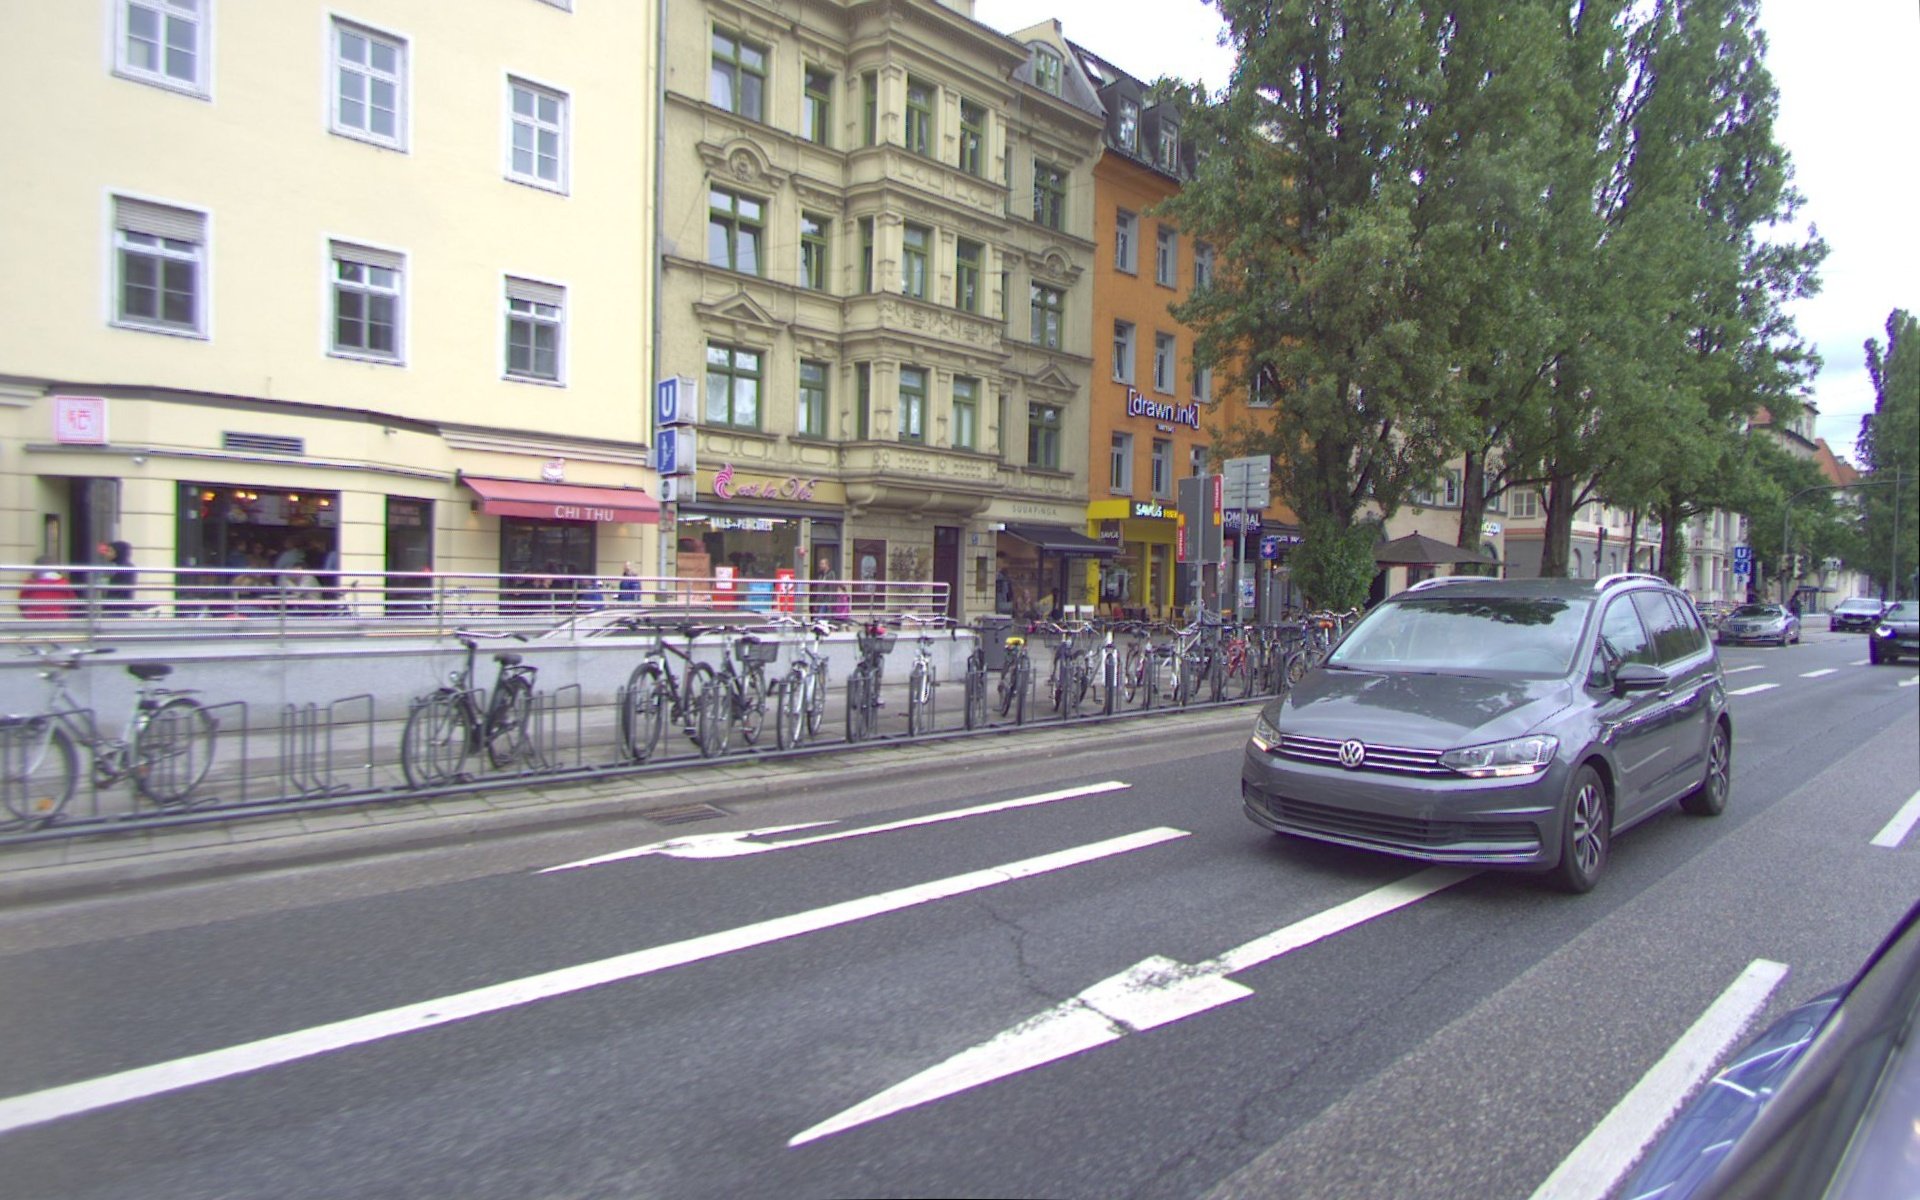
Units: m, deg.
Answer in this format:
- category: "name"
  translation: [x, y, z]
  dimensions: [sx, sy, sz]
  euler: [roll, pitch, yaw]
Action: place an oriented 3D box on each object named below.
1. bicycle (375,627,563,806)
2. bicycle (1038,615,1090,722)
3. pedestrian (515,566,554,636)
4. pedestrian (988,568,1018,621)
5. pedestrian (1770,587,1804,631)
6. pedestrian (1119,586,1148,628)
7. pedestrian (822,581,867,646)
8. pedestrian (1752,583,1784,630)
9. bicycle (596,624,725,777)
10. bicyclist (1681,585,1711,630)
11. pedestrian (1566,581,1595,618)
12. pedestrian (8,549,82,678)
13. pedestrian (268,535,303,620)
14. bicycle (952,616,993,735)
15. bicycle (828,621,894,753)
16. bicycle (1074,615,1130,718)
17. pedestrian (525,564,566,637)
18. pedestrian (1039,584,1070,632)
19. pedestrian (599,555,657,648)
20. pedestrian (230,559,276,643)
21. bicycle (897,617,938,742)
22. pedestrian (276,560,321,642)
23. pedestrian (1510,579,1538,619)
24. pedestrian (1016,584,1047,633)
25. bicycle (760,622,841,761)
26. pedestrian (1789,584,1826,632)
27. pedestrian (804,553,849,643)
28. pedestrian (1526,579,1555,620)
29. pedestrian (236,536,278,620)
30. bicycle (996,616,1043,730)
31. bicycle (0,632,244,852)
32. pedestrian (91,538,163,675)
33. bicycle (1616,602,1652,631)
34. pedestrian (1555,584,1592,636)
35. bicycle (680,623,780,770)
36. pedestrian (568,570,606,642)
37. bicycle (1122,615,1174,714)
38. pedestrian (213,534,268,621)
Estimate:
- category: "bicycle"
  translation: [-3.459, 0.758, 7.302]
  dimensions: [0.342, 1.008, 1.841]
  euler: [2, 2, 4]
- category: "bicycle"
  translation: [1.150, 0.728, 11.423]
  dimensions: [0.341, 1.008, 1.843]
  euler: [1, 2, -1]
- category: "pedestrian"
  translation: [-8.023, 0.011, 19.094]
  dimensions: [0.542, 1.305, 0.496]
  euler: [0, 1, -40]
- category: "pedestrian"
  translation: [1.221, -0.169, 28.778]
  dimensions: [0.572, 1.493, 0.627]
  euler: [0, 1, -38]
- category: "pedestrian"
  translation: [32.130, 0.350, 39.315]
  dimensions: [0.743, 1.658, 0.700]
  euler: [1, 0, 6]
- category: "pedestrian"
  translation: [5.197, 0.208, 30.377]
  dimensions: [0.573, 1.233, 0.623]
  euler: [0, 1, -41]
- category: "pedestrian"
  translation: [-2.273, 0.256, 19.935]
  dimensions: [0.654, 1.237, 0.601]
  euler: [0, 1, -40]
- category: "pedestrian"
  translation: [31.406, 0.252, 39.340]
  dimensions: [0.638, 1.803, 0.702]
  euler: [1, 0, -7]
- category: "bicycle"
  translation: [-2.417, 0.759, 8.364]
  dimensions: [0.342, 1.008, 1.840]
  euler: [2, 2, 5]
- category: "bicyclist"
  translation: [27.637, 0.268, 37.980]
  dimensions: [0.923, 1.623, 0.681]
  euler: [0, 1, -41]
- category: "pedestrian"
  translation: [27.363, -0.034, 44.607]
  dimensions: [0.808, 1.622, 0.848]
  euler: [0, 1, -41]
- category: "pedestrian"
  translation: [-10.609, 0.145, 11.755]
  dimensions: [0.606, 1.440, 0.677]
  euler: [0, 1, -40]
- category: "pedestrian"
  translation: [-11.464, -0.381, 17.206]
  dimensions: [0.479, 1.414, 0.511]
  euler: [0, 1, -35]
- category: "bicycle"
  translation: [0.107, 0.727, 10.403]
  dimensions: [0.341, 1.008, 1.843]
  euler: [1, 2, -1]
- category: "bicycle"
  translation: [-0.907, 0.760, 9.544]
  dimensions: [0.341, 1.008, 1.841]
  euler: [2, 2, 2]
- category: "bicycle"
  translation: [1.634, 0.729, 11.848]
  dimensions: [0.341, 1.008, 1.843]
  euler: [1, 2, -1]
- category: "pedestrian"
  translation: [-7.532, 0.007, 18.394]
  dimensions: [0.542, 1.305, 0.496]
  euler: [0, 1, -40]
- category: "pedestrian"
  translation: [2.591, 0.220, 27.758]
  dimensions: [0.573, 1.296, 0.584]
  euler: [0, 1, -41]
- category: "pedestrian"
  translation: [-6.010, 0.015, 18.328]
  dimensions: [0.772, 1.653, 0.712]
  euler: [0, 1, -40]
- category: "pedestrian"
  translation: [-11.251, 0.009, 16.107]
  dimensions: [0.542, 1.305, 0.542]
  euler: [0, 1, -40]
- category: "bicycle"
  translation: [-0.400, 0.727, 9.990]
  dimensions: [0.341, 1.008, 1.843]
  euler: [1, 2, -1]
- category: "pedestrian"
  translation: [-10.824, 0.009, 16.564]
  dimensions: [0.542, 1.305, 0.542]
  euler: [0, 1, -40]
- category: "pedestrian"
  translation: [25.137, -0.063, 45.118]
  dimensions: [0.999, 1.735, 0.747]
  euler: [0, 1, -41]
- category: "pedestrian"
  translation: [1.915, 0.218, 27.281]
  dimensions: [0.573, 1.296, 0.584]
  euler: [0, 1, -41]
- category: "bicycle"
  translation: [-1.400, 0.760, 9.115]
  dimensions: [0.341, 1.008, 1.841]
  euler: [2, 2, 2]
- category: "pedestrian"
  translation: [33.224, 0.311, 39.673]
  dimensions: [0.741, 1.824, 0.883]
  euler: [2, 0, -30]
- category: "pedestrian"
  translation: [-2.682, -0.049, 20.388]
  dimensions: [0.654, 1.761, 0.601]
  euler: [0, 1, -40]
- category: "pedestrian"
  translation: [24.916, -0.031, 43.441]
  dimensions: [0.999, 1.706, 0.747]
  euler: [0, 1, -41]
- category: "pedestrian"
  translation: [-12.148, -0.382, 17.487]
  dimensions: [0.542, 1.414, 0.542]
  euler: [0, 1, -40]
- category: "bicycle"
  translation: [0.613, 0.727, 10.828]
  dimensions: [0.341, 1.008, 1.843]
  euler: [1, 2, -1]
- category: "bicycle"
  translation: [-5.032, 0.757, 5.880]
  dimensions: [0.342, 1.008, 1.841]
  euler: [2, 2, 4]
- category: "pedestrian"
  translation: [-10.384, 0.065, 12.621]
  dimensions: [0.666, 1.653, 0.616]
  euler: [0, 1, -40]
- category: "bicycle"
  translation: [23.309, 0.566, 34.976]
  dimensions: [1.624, 0.977, 0.590]
  euler: [0, 1, -41]
- category: "pedestrian"
  translation: [19.009, 0.308, 31.351]
  dimensions: [0.749, 1.582, 0.762]
  euler: [1, 0, -39]
- category: "bicycle"
  translation: [-1.924, 0.759, 8.644]
  dimensions: [0.341, 1.008, 1.841]
  euler: [2, 2, 2]
- category: "pedestrian"
  translation: [-7.198, 0.104, 19.520]
  dimensions: [0.542, 1.349, 0.496]
  euler: [0, 1, -40]
- category: "bicycle"
  translation: [2.249, 0.732, 12.237]
  dimensions: [0.341, 1.008, 1.841]
  euler: [2, 2, 3]
- category: "pedestrian"
  translation: [-11.920, -0.382, 16.770]
  dimensions: [0.536, 1.414, 0.548]
  euler: [1, 1, 23]
